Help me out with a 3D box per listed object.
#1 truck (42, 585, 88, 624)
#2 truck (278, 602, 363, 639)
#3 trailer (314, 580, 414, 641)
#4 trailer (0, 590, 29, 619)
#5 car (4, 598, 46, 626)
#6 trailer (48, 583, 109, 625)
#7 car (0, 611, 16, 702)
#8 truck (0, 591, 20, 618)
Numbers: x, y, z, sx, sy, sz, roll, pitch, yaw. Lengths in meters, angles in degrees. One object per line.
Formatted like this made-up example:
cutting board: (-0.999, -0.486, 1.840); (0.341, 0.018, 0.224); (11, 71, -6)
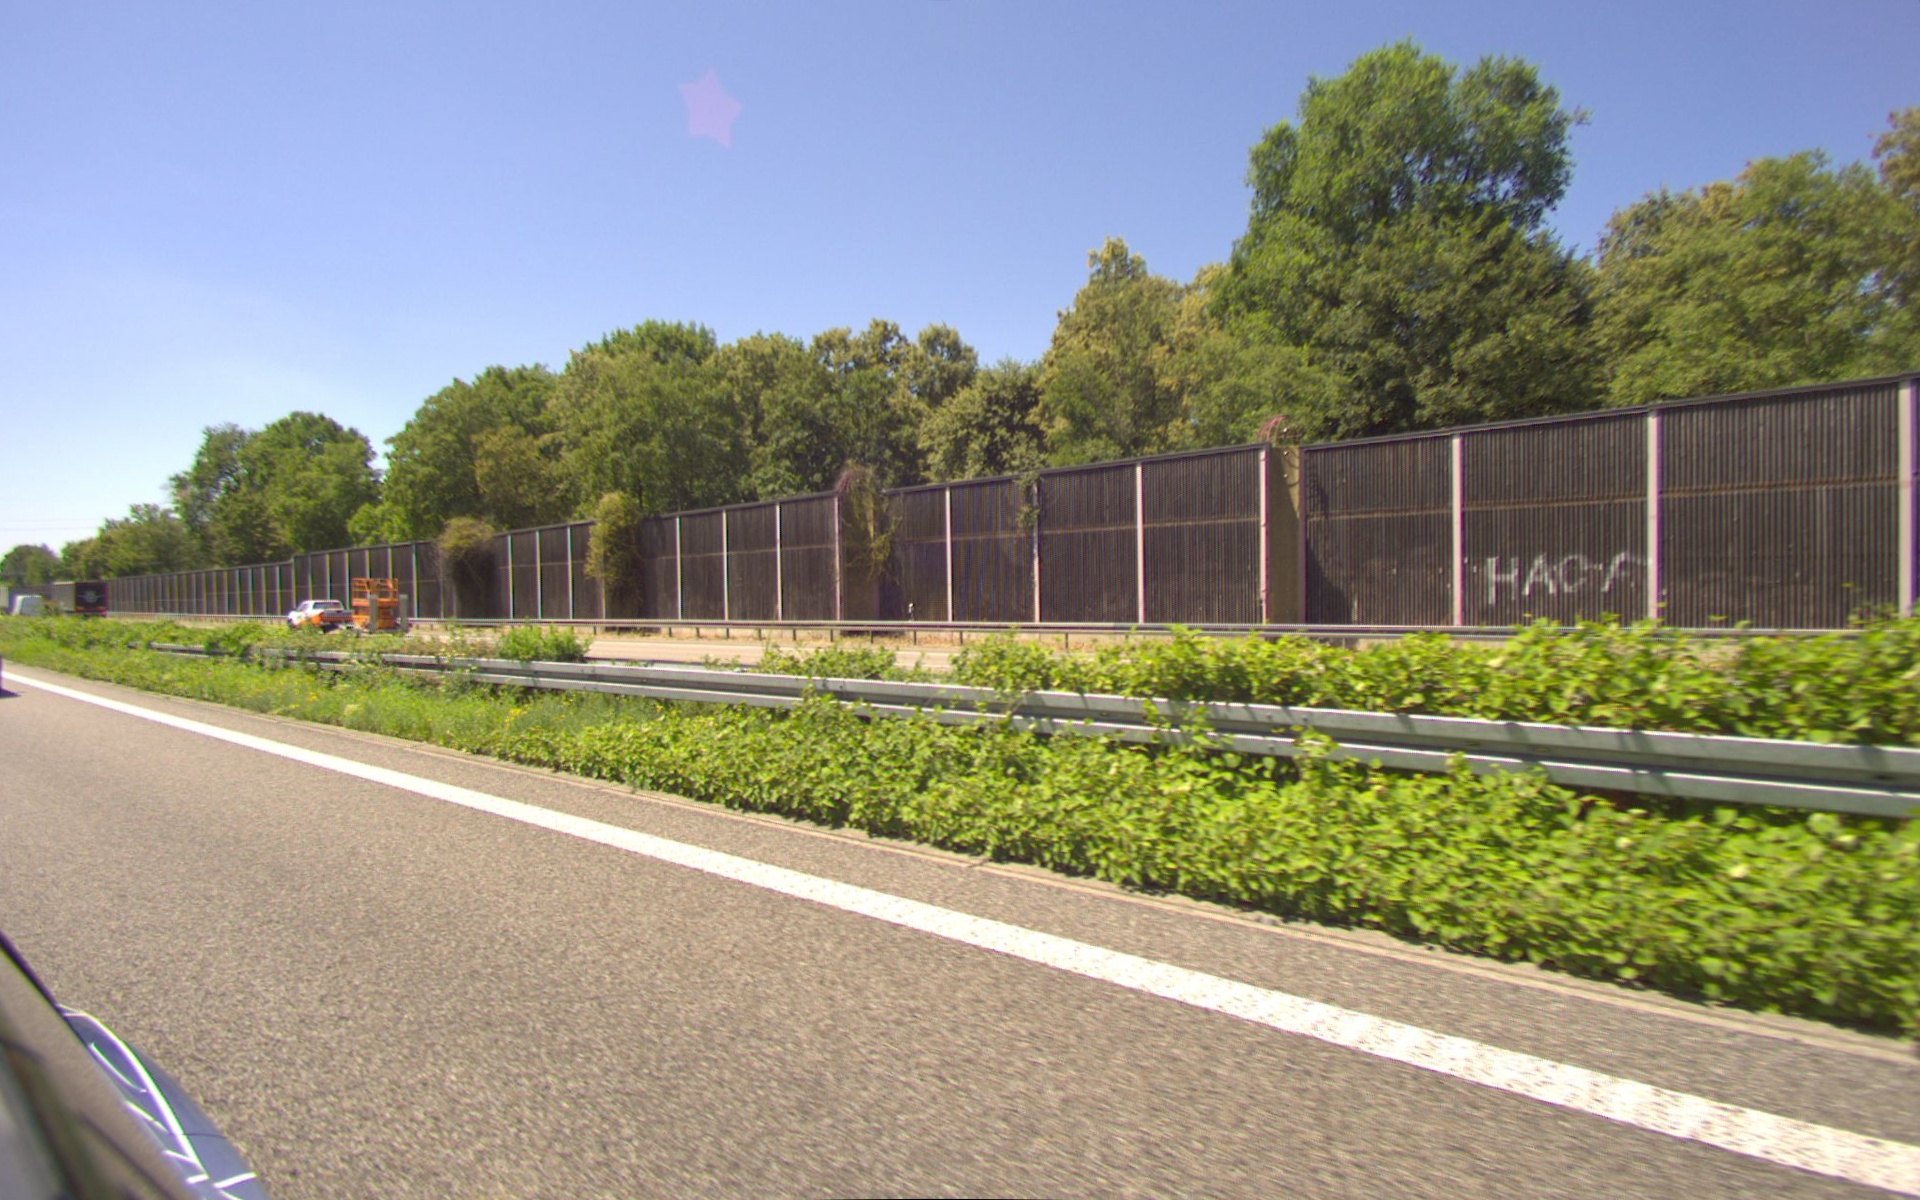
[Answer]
truck: (-96.602, 0.483, 109.238); (6.113, 4.123, 2.869); (-1, 0, 40)
truck: (-33.722, 1.076, 53.256); (6.207, 1.830, 2.079); (-1, 0, 41)
trailer: (-28.954, 0.505, 49.049); (6.505, 2.797, 2.219); (-1, 0, 41)
trailer: (-138.229, 0.614, 147.043); (13.801, 4.060, 2.931); (-1, 0, 41)
car: (-91.007, 1.178, 98.449); (6.785, 2.559, 2.143); (-1, 1, 41)
trailer: (-91.025, 0.418, 104.402); (13.325, 4.123, 2.869); (0, 0, 41)
car: (-18.777, 0.986, 18.124); (5.814, 1.518, 1.925); (-1, 0, 39)
truck: (-142.898, 0.686, 151.163); (6.593, 4.060, 2.921); (-1, 0, 41)
